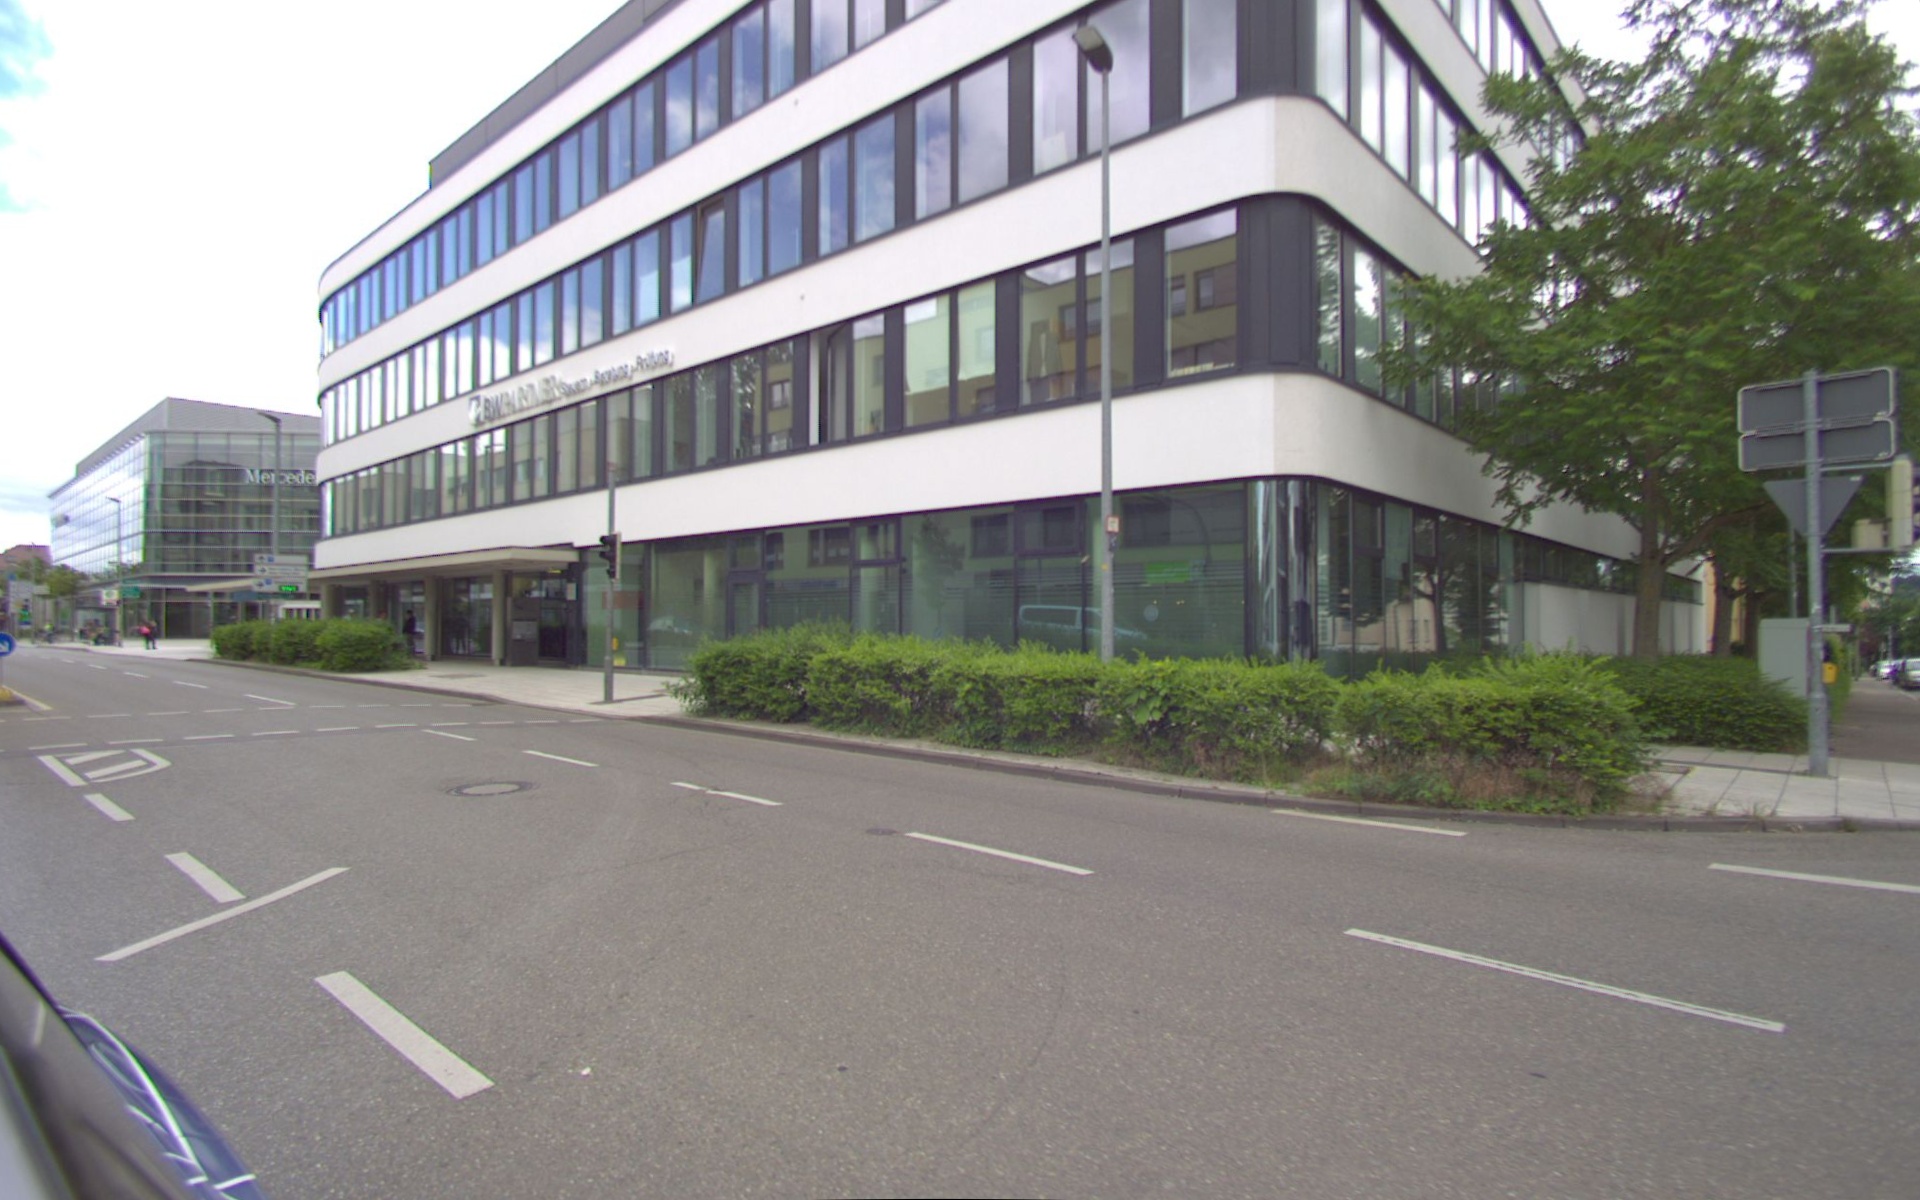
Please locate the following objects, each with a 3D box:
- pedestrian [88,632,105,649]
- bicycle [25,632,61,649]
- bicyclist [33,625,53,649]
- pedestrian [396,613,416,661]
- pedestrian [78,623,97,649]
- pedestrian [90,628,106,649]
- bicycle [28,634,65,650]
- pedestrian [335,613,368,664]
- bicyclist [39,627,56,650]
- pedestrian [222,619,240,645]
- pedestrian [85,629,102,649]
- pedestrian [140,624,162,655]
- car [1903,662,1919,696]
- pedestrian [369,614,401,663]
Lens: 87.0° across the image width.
[{"bbox_3d":[-54.341,2.558,63.671,0.576,1.084,0.677,-2,-4,41],"label":"pedestrian"},{"bbox_3d":[-71.119,3.123,78.501,2.000,1.215,0.748,-2,0,-3],"label":"bicycle"},{"bbox_3d":[-71.130,2.834,78.502,0.762,1.813,0.748,-2,0,-4],"label":"bicyclist"},{"bbox_3d":[-20.090,1.334,36.699,0.498,1.743,0.617,0,-2,-17],"label":"pedestrian"},{"bbox_3d":[-55.446,2.276,64.298,0.568,1.644,0.686,0,-2,1],"label":"pedestrian"},{"bbox_3d":[-53.847,2.397,63.223,0.576,1.330,0.677,-2,-4,41],"label":"pedestrian"},{"bbox_3d":[-69.018,3.164,76.506,1.973,1.139,0.640,-2,0,-33],"label":"bicycle"},{"bbox_3d":[-20.901,1.308,34.753,0.931,1.686,0.722,-2,-1,44],"label":"pedestrian"},{"bbox_3d":[-68.999,2.902,76.524,0.771,1.661,0.640,-2,0,-33],"label":"bicyclist"},{"bbox_3d":[-57.188,2.503,79.373,0.740,1.960,0.901,-1,-1,3],"label":"pedestrian"},{"bbox_3d":[-54.823,2.444,64.035,0.576,1.263,0.677,-2,-3,41],"label":"pedestrian"},{"bbox_3d":[-42.425,2.042,53.080,0.820,1.579,0.814,-1,-1,-43],"label":"pedestrian"},{"bbox_3d":[46.908,3.804,48.939,1.684,1.539,3.945,-2,-3,41],"label":"car"},{"bbox_3d":[-19.783,1.308,34.817,0.931,1.625,0.722,-2,-1,44],"label":"pedestrian"}]
